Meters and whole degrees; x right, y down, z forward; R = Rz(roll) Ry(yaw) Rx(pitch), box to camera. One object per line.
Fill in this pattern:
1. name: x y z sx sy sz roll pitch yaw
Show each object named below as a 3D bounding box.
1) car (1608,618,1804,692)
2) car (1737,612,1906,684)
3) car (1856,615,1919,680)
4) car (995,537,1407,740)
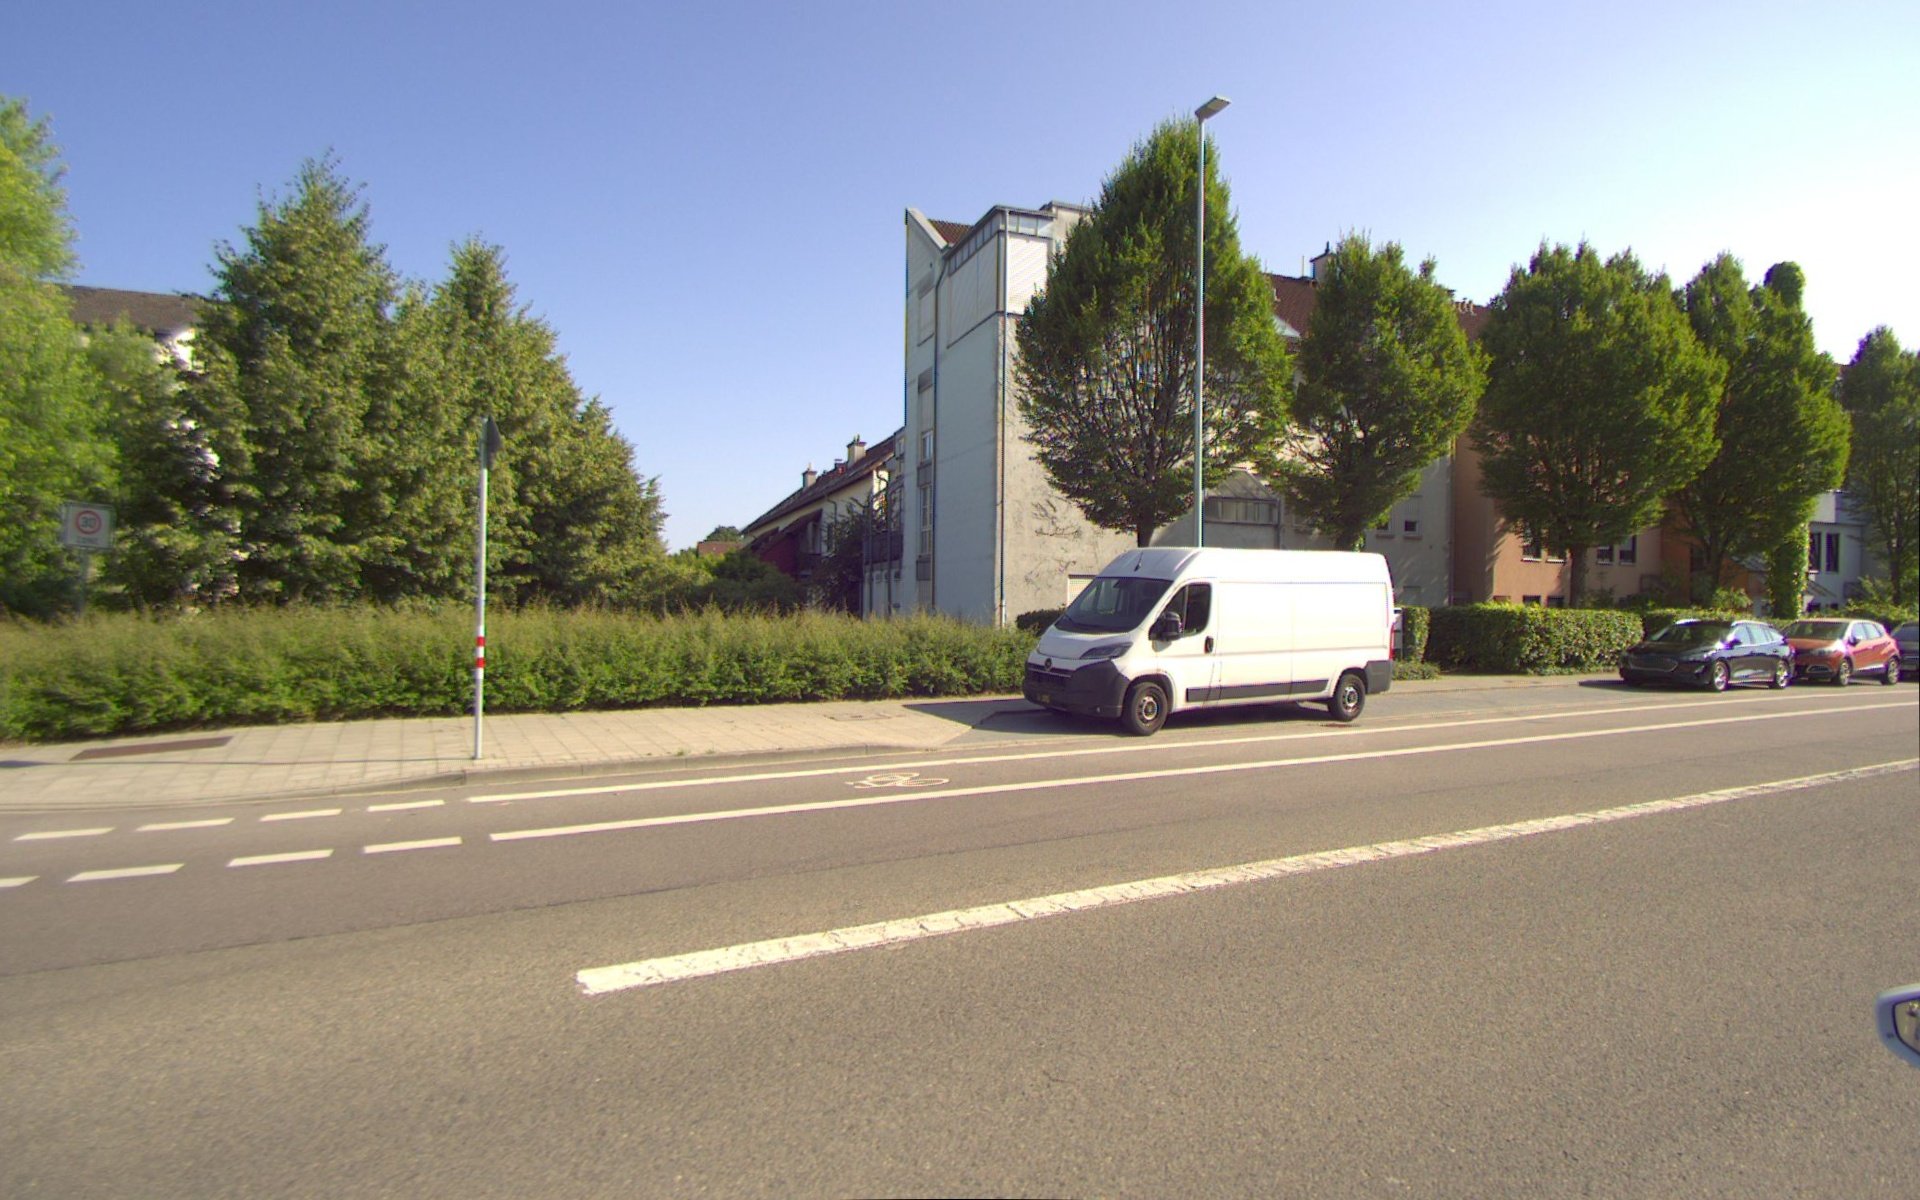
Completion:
1. car: 16.328 1.139 21.944 4.654 1.443 1.645 1 0 -29
2. car: 21.078 1.150 24.564 4.110 1.595 1.755 2 0 -28
3. car: 26.290 1.265 27.124 4.246 1.595 1.755 1 2 -29
4. car: 3.682 0.462 14.808 6.112 2.491 2.141 1 2 -31
